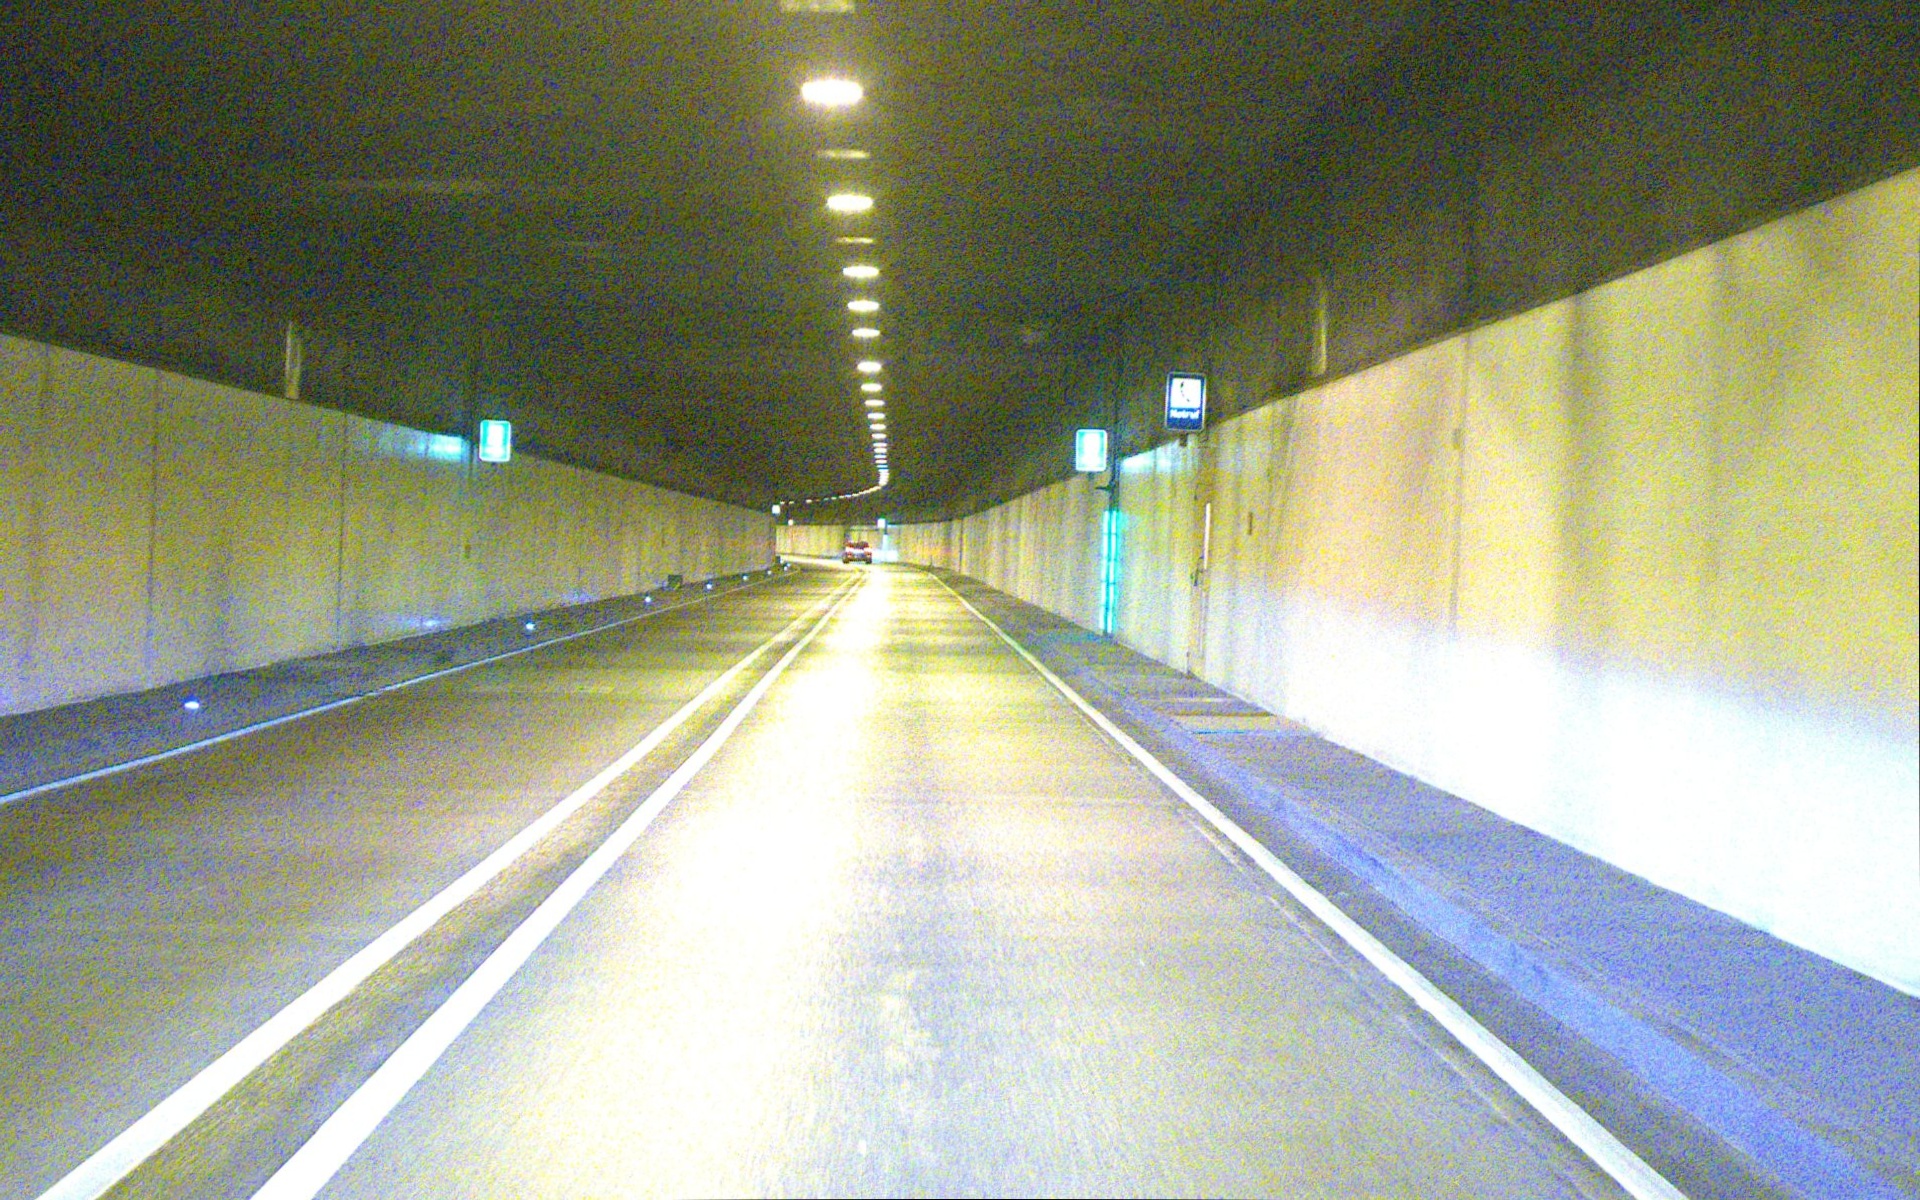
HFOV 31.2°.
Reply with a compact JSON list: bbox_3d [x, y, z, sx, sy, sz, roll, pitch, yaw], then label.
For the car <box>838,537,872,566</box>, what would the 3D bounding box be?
[{"bbox_3d":[-7.257,-3.349,237.151,1.966,1.932,4.613,2,0,-6],"label":"car"}]
